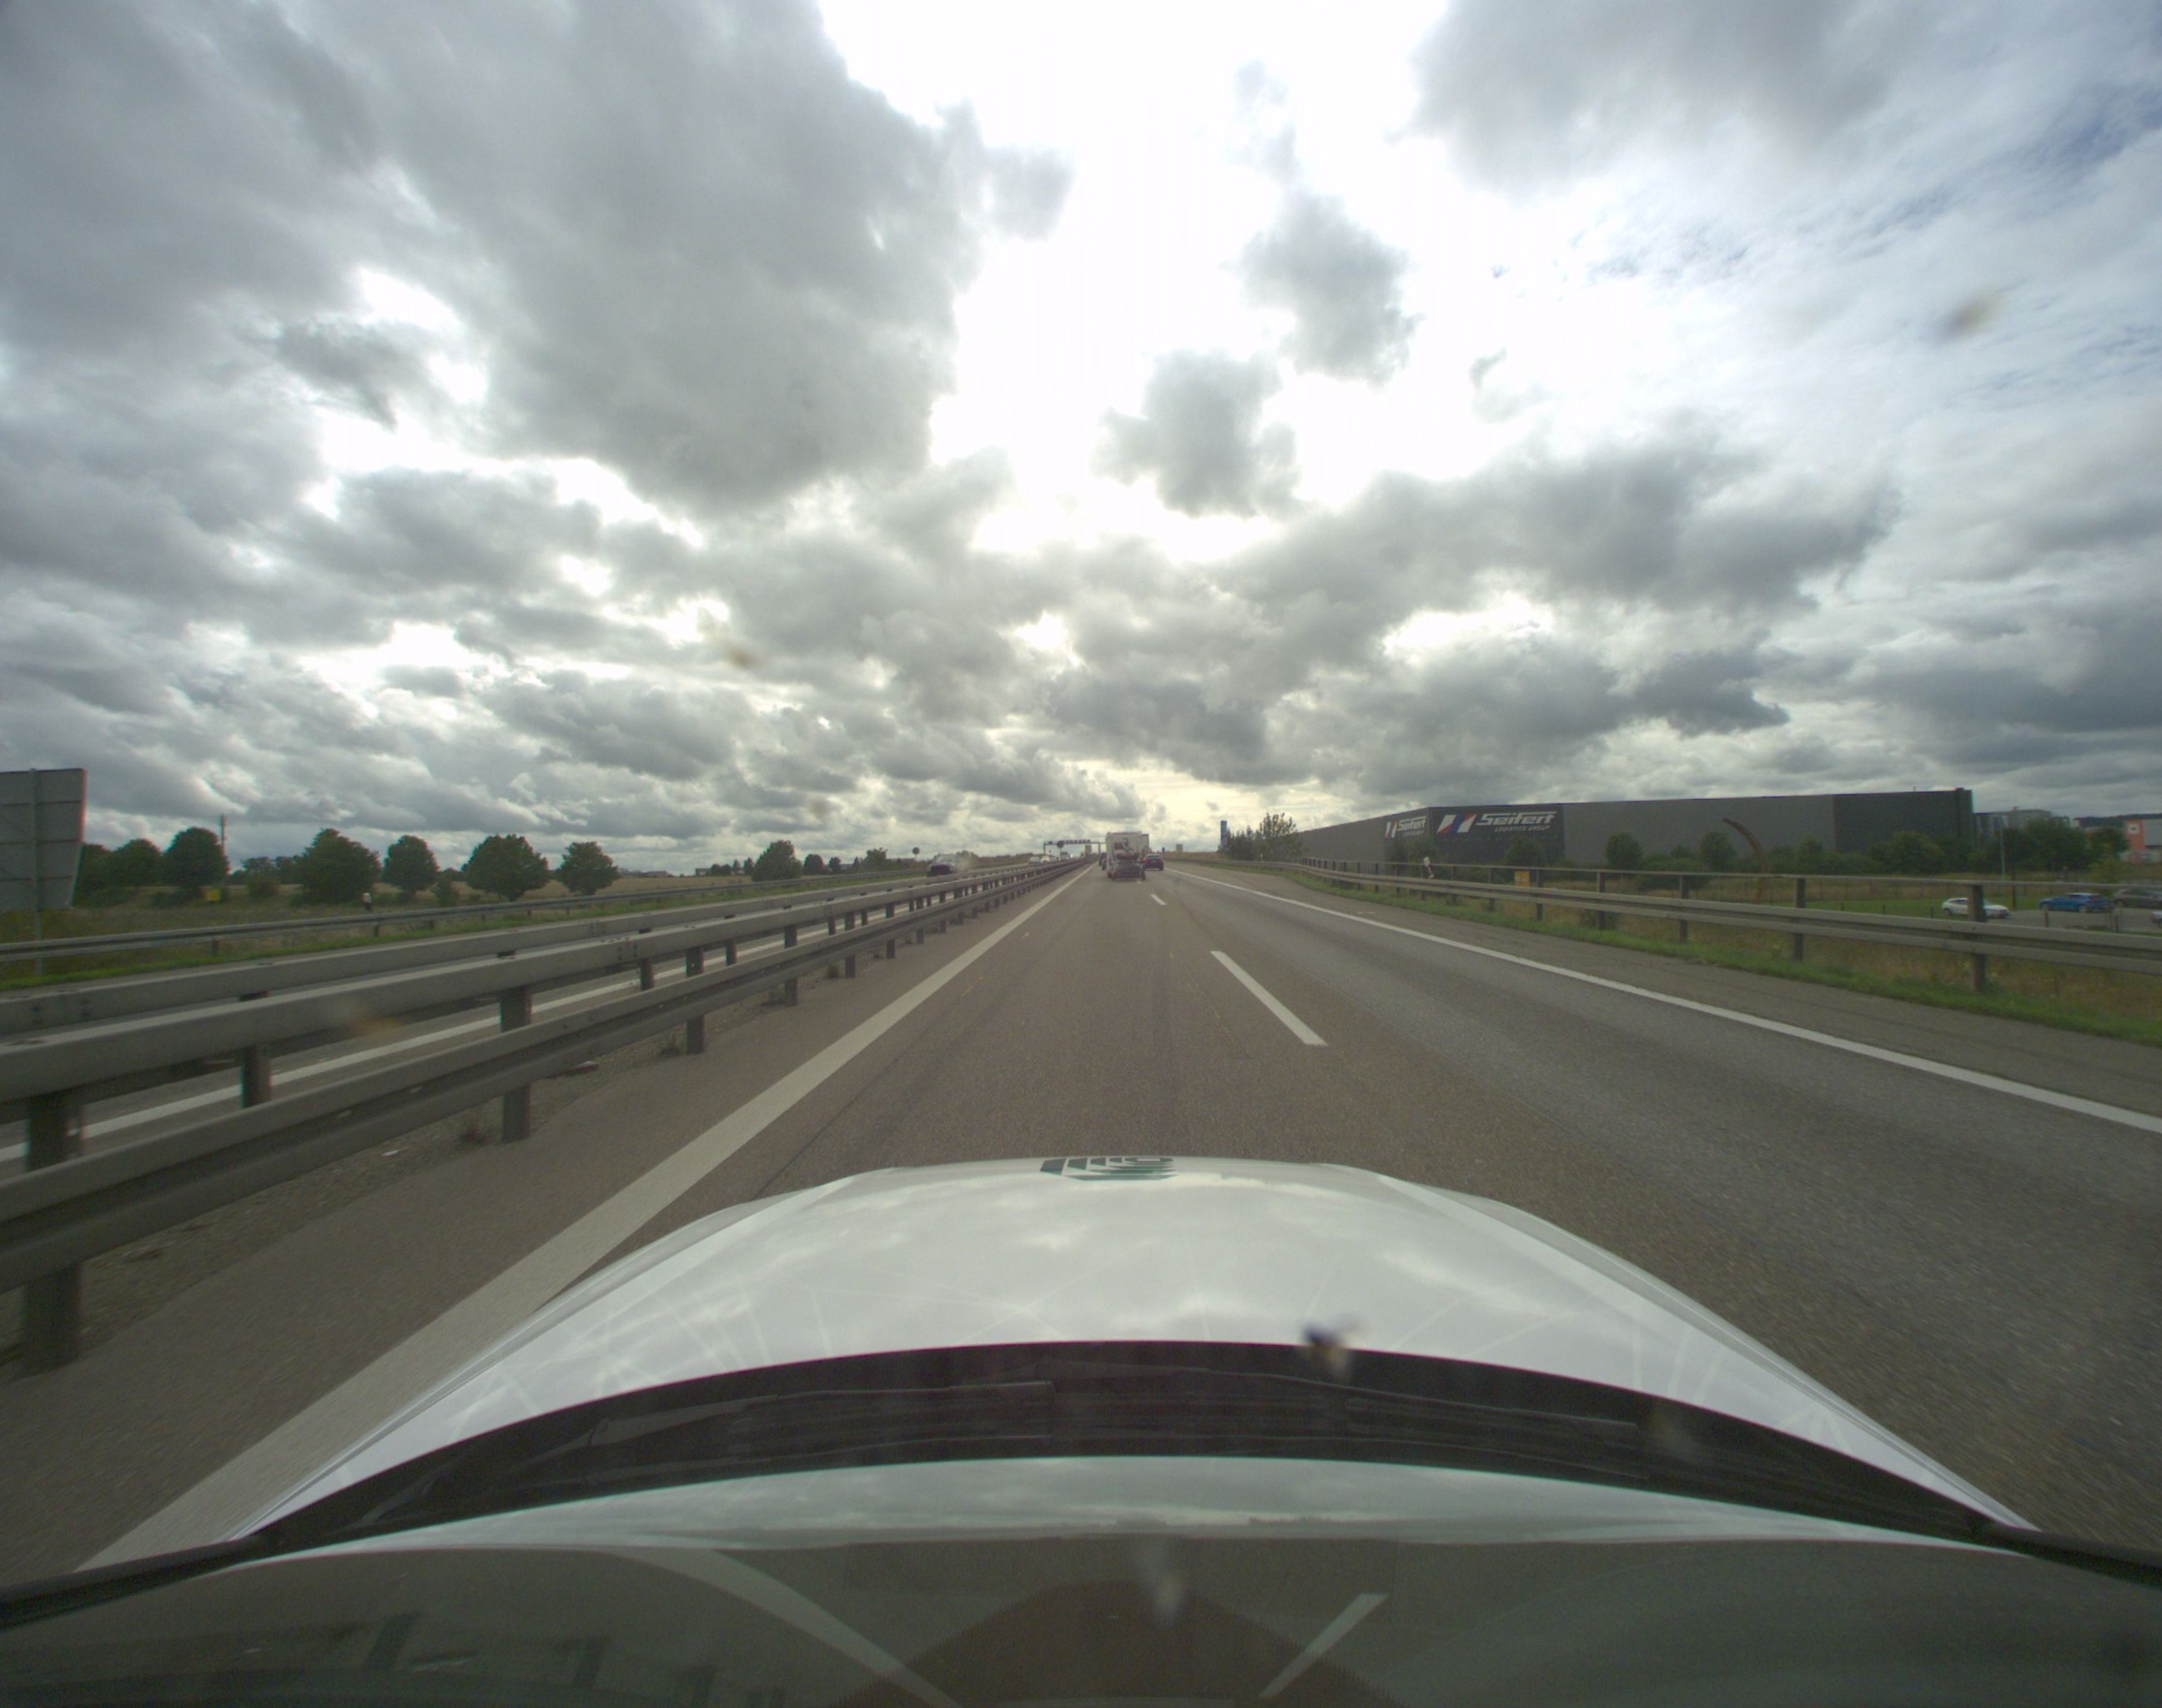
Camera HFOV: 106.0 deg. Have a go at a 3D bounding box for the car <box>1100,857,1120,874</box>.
[{"bbox_3d":[2.800,1.096,78.021,1.738,1.453,4.005,-2,-1,5],"label":"car"}]

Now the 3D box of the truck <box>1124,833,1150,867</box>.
[{"bbox_3d":[7.807,-0.486,113.920,3.234,4.525,7.069,-2,-1,2],"label":"truck"}]

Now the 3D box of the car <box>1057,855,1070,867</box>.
[{"bbox_3d":[-3.026,1.249,140.198,1.987,2.013,4.383,-1,0,0],"label":"car"}]

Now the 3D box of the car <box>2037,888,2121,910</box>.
[{"bbox_3d":[76.787,3.448,62.768,1.669,1.494,4.002,0,0,2],"label":"car"}]

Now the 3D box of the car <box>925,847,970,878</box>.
[{"bbox_3d":[-9.386,0.568,57.862,1.986,2.013,6.104,-2,0,2],"label":"car"}]

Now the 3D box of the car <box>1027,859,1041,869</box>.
[{"bbox_3d":[-7.545,1.633,131.144,1.750,1.468,4.561,-1,0,1],"label":"car"}]

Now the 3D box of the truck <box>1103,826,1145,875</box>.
[{"bbox_3d":[2.806,-0.165,53.318,2.472,2.950,5.818,-2,-1,3],"label":"truck"}]

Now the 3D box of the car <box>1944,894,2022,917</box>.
[{"bbox_3d":[69.317,3.914,62.647,1.669,1.494,4.002,0,0,2],"label":"car"}]

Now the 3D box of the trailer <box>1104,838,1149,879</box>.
[{"bbox_3d":[2.616,0.296,46.164,2.327,2.136,4.005,-2,-1,4],"label":"trailer"}]

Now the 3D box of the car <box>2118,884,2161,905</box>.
[{"bbox_3d":[81.665,3.052,61.504,1.669,1.494,4.002,0,0,2],"label":"car"}]

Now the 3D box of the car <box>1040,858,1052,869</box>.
[{"bbox_3d":[-6.754,1.897,155.760,1.987,2.014,4.383,-2,-1,0],"label":"car"}]

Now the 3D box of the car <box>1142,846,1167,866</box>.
[{"bbox_3d":[6.525,0.219,72.713,1.876,1.620,4.001,-2,-1,2],"label":"car"}]
